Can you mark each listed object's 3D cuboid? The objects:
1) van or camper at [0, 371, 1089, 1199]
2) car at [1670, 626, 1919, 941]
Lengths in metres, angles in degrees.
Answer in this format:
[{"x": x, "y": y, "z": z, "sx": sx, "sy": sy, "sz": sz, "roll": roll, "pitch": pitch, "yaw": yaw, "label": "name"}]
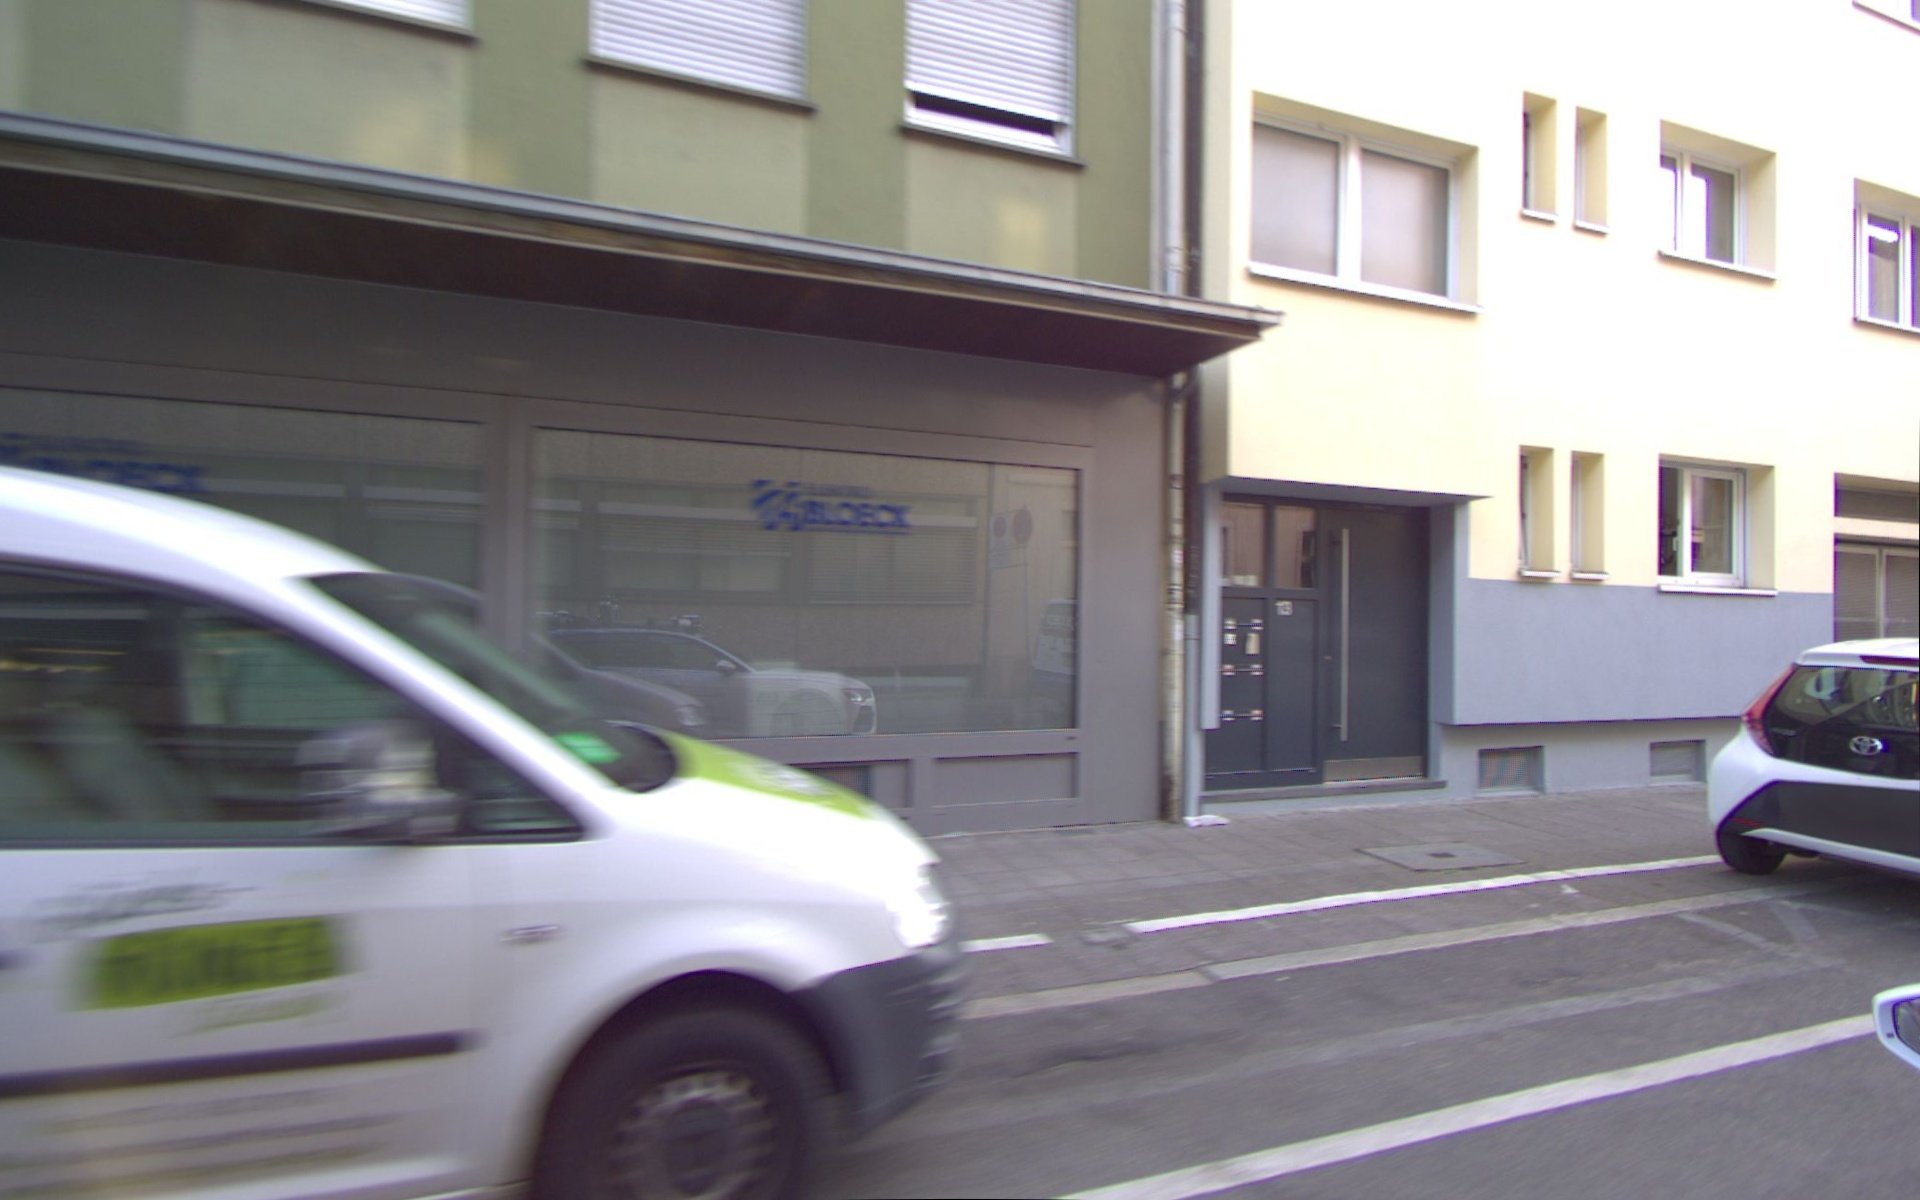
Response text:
[{"x": -1.910, "y": 0.563, "z": 2.577, "sx": 4.116, "sy": 1.872, "sz": 1.769, "roll": 1, "pitch": -2, "yaw": -21, "label": "van or camper"}, {"x": 6.194, "y": 0.964, "z": 5.904, "sx": 3.470, "sy": 1.468, "sz": 1.658, "roll": 1, "pitch": 2, "yaw": -22, "label": "car"}]
